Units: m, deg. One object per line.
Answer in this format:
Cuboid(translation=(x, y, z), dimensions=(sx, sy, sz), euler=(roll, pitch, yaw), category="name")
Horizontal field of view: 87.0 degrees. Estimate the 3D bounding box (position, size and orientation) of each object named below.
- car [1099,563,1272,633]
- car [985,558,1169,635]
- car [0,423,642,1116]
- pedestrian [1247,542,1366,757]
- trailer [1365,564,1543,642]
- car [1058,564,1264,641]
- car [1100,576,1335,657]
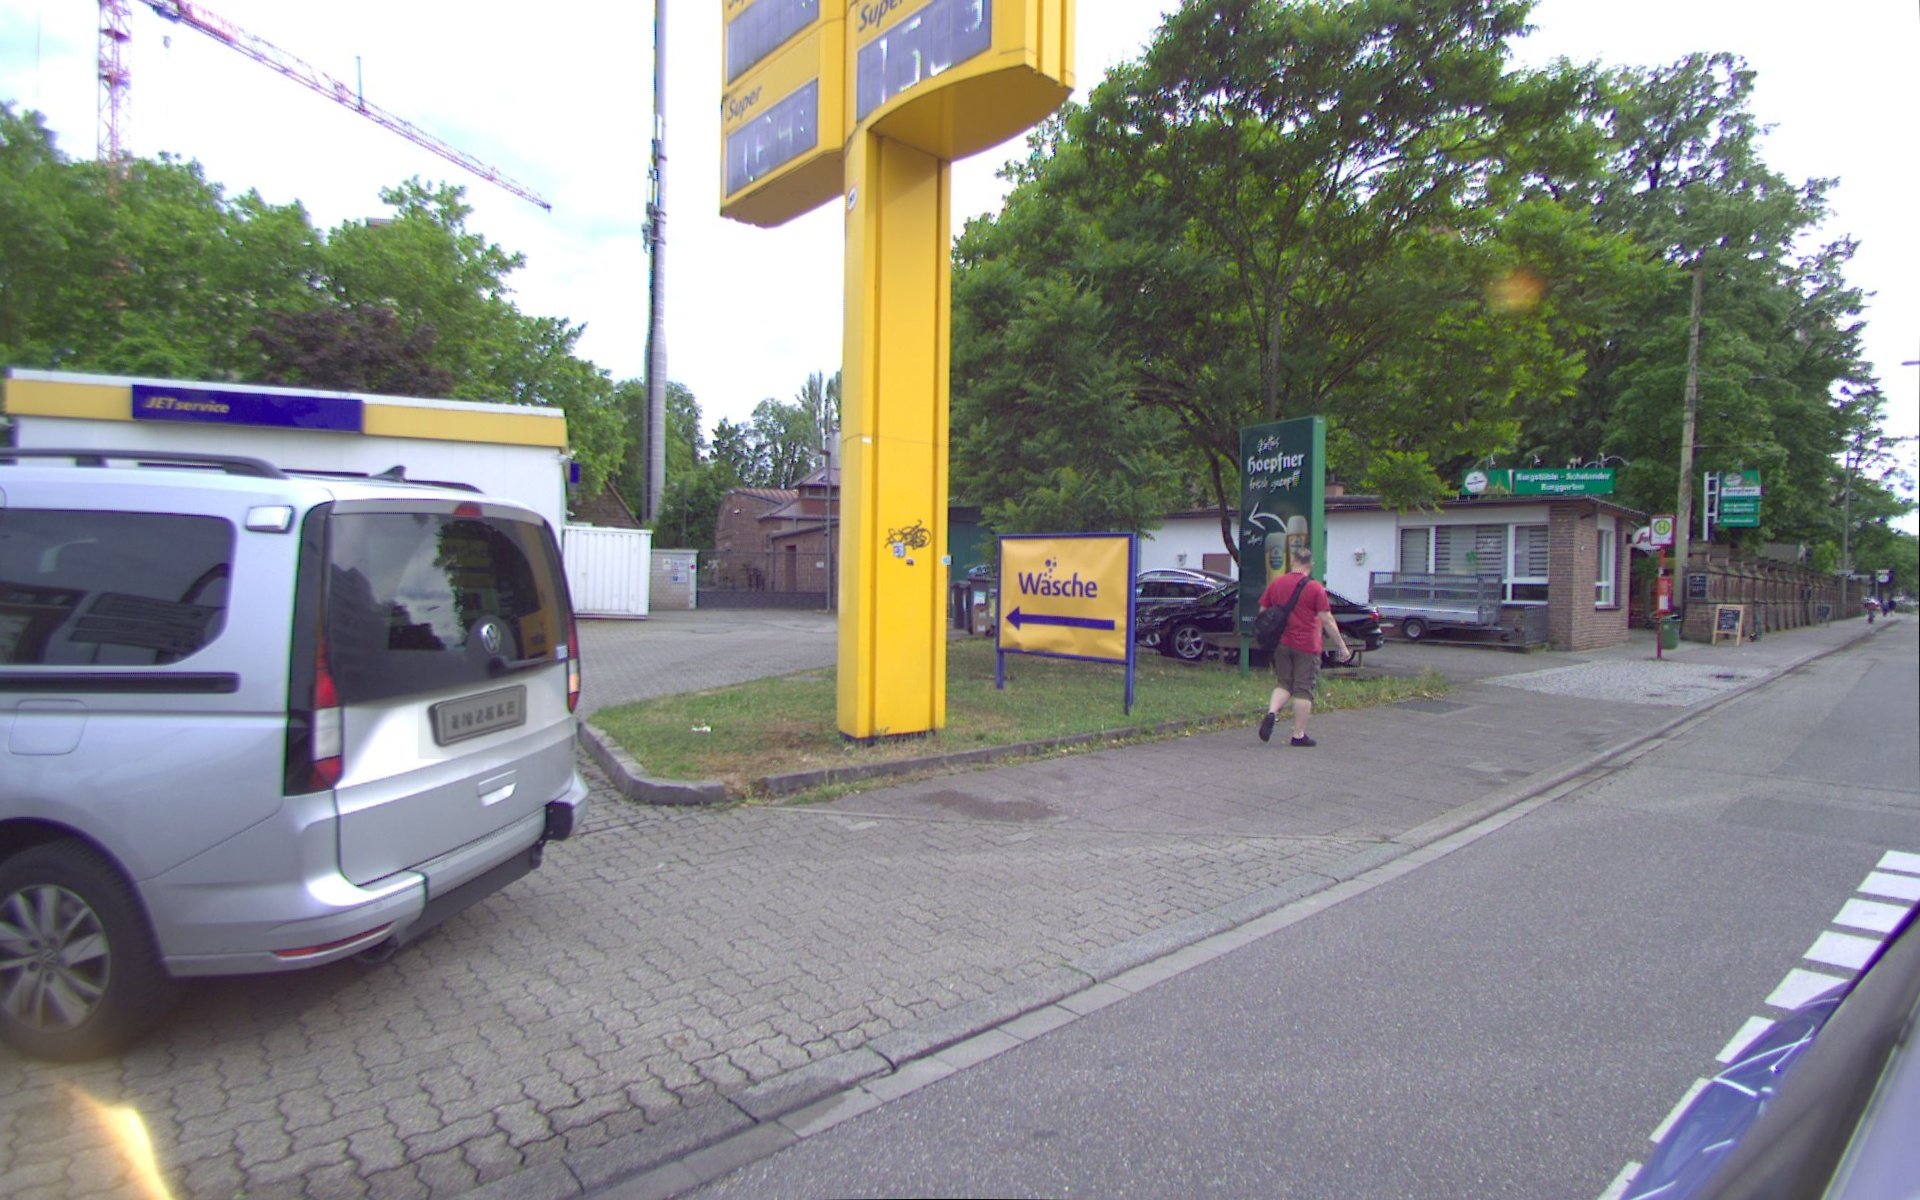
Cuboid(translation=(5.797, -0.071, 26.278), dimensions=(1.967, 1.688, 3.990), euler=(0, 1, -44), category="car")
Cuboid(translation=(2.688, -0.094, 23.734), dimensions=(3.943, 1.717, 1.815), euler=(0, 0, -8), category="car")
Cuboid(translation=(-3.824, 0.336, 4.007), dimensions=(4.450, 1.865, 1.984), euler=(3, 2, 7), category="car")
Cuboid(translation=(3.072, 0.387, 8.986), dimensions=(0.859, 1.768, 0.845), euler=(3, 3, 20), category="pedestrian")
Cuboid(translation=(11.360, -0.002, 23.383), dimensions=(1.745, 1.549, 3.286), euler=(-3, 5, -44), category="trailer")
Cuboid(translation=(4.179, 0.037, 21.414), dimensions=(3.921, 1.536, 1.828), euler=(0, 0, -4), category="car")
Cuboid(translation=(4.665, 0.236, 18.216), dimensions=(3.923, 1.304, 2.001), euler=(0, 1, -34), category="car")
